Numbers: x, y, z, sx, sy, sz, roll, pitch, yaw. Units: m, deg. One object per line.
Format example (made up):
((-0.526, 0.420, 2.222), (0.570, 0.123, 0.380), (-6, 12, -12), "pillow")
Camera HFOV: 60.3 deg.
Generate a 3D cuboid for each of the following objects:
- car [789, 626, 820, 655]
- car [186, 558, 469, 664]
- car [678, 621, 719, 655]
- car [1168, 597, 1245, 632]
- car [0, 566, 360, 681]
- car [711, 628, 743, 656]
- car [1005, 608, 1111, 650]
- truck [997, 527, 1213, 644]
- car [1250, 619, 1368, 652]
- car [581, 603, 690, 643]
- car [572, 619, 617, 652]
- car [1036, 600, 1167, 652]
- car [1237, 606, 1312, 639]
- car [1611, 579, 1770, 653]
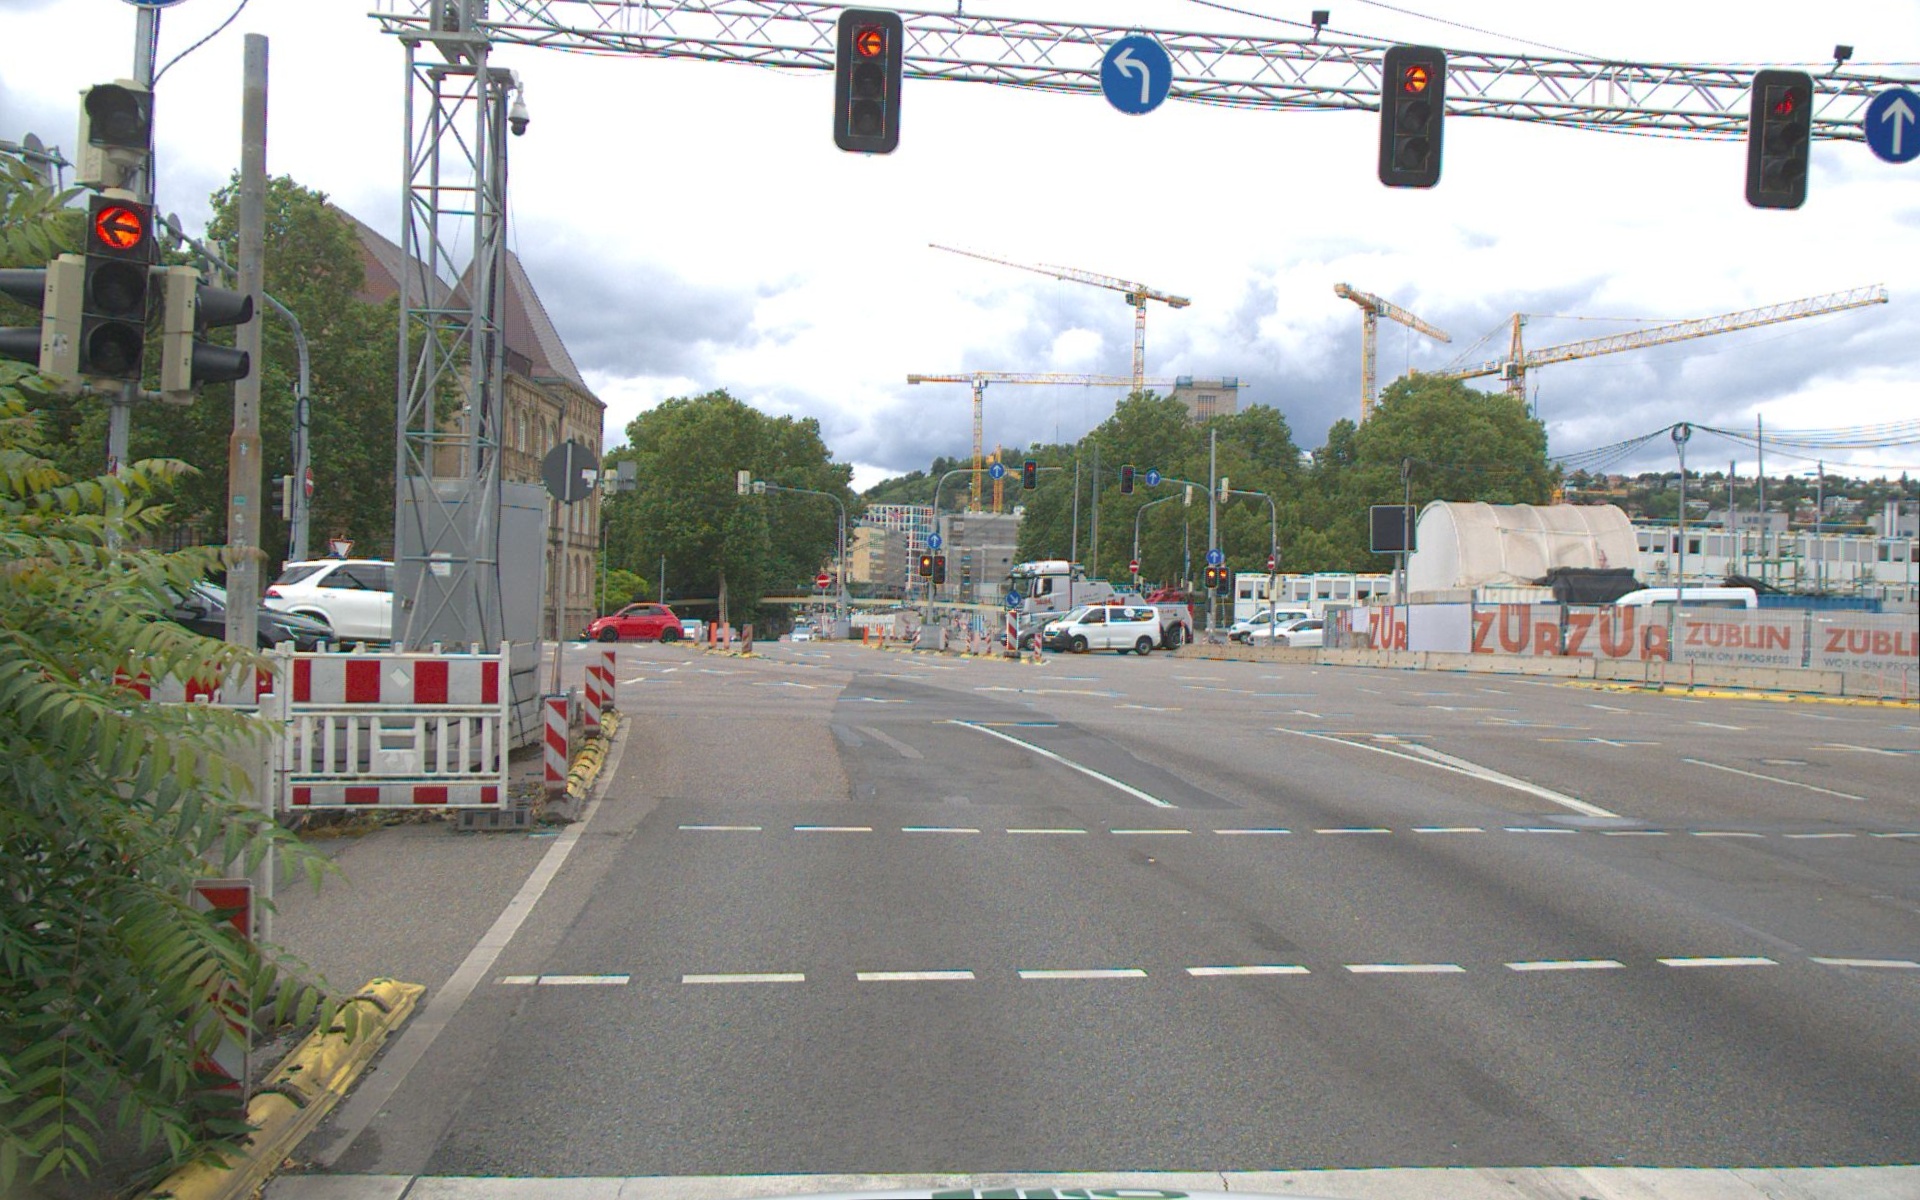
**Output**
((-10.683, 2.790, 114.015), (1.954, 1.870, 3.997), (1, 0, -3), "car")
((-11.442, 0.202, 30.204), (4.405, 1.790, 1.997), (1, 0, -7), "car")
((-15.232, 2.215, 96.601), (1.954, 1.870, 3.997), (1, 0, -3), "car")
((14.102, 0.827, 94.749), (3.914, 1.870, 1.995), (1, 0, 31), "car")
((-11.052, 0.323, 23.362), (4.400, 1.492, 1.999), (1, 0, -3), "car")
((-16.931, 3.046, 120.284), (1.954, 1.870, 3.997), (1, 0, -3), "car")
((4.212, 1.226, 70.960), (4.104, 1.731, 1.955), (1, 0, -20), "car")
((6.687, -0.580, 75.707), (9.587, 5.047, 3.090), (1, -1, -24), "truck")
((16.129, 1.634, 76.446), (5.066, 1.444, 2.220), (1, 0, -24), "car")
((-12.160, 0.867, 61.970), (3.755, 1.410, 1.792), (1, 0, -23), "car")
((-21.841, 2.113, 98.932), (1.954, 1.870, 3.997), (1, 0, -3), "car")
((5.854, 1.083, 68.353), (5.061, 2.049, 2.062), (1, 0, -24), "car")
((16.939, 1.223, 89.148), (3.902, 1.680, 1.868), (1, 0, 10), "car")
((21.053, 0.449, 47.818), (3.902, 2.049, 2.001), (1, 0, 15), "car")
